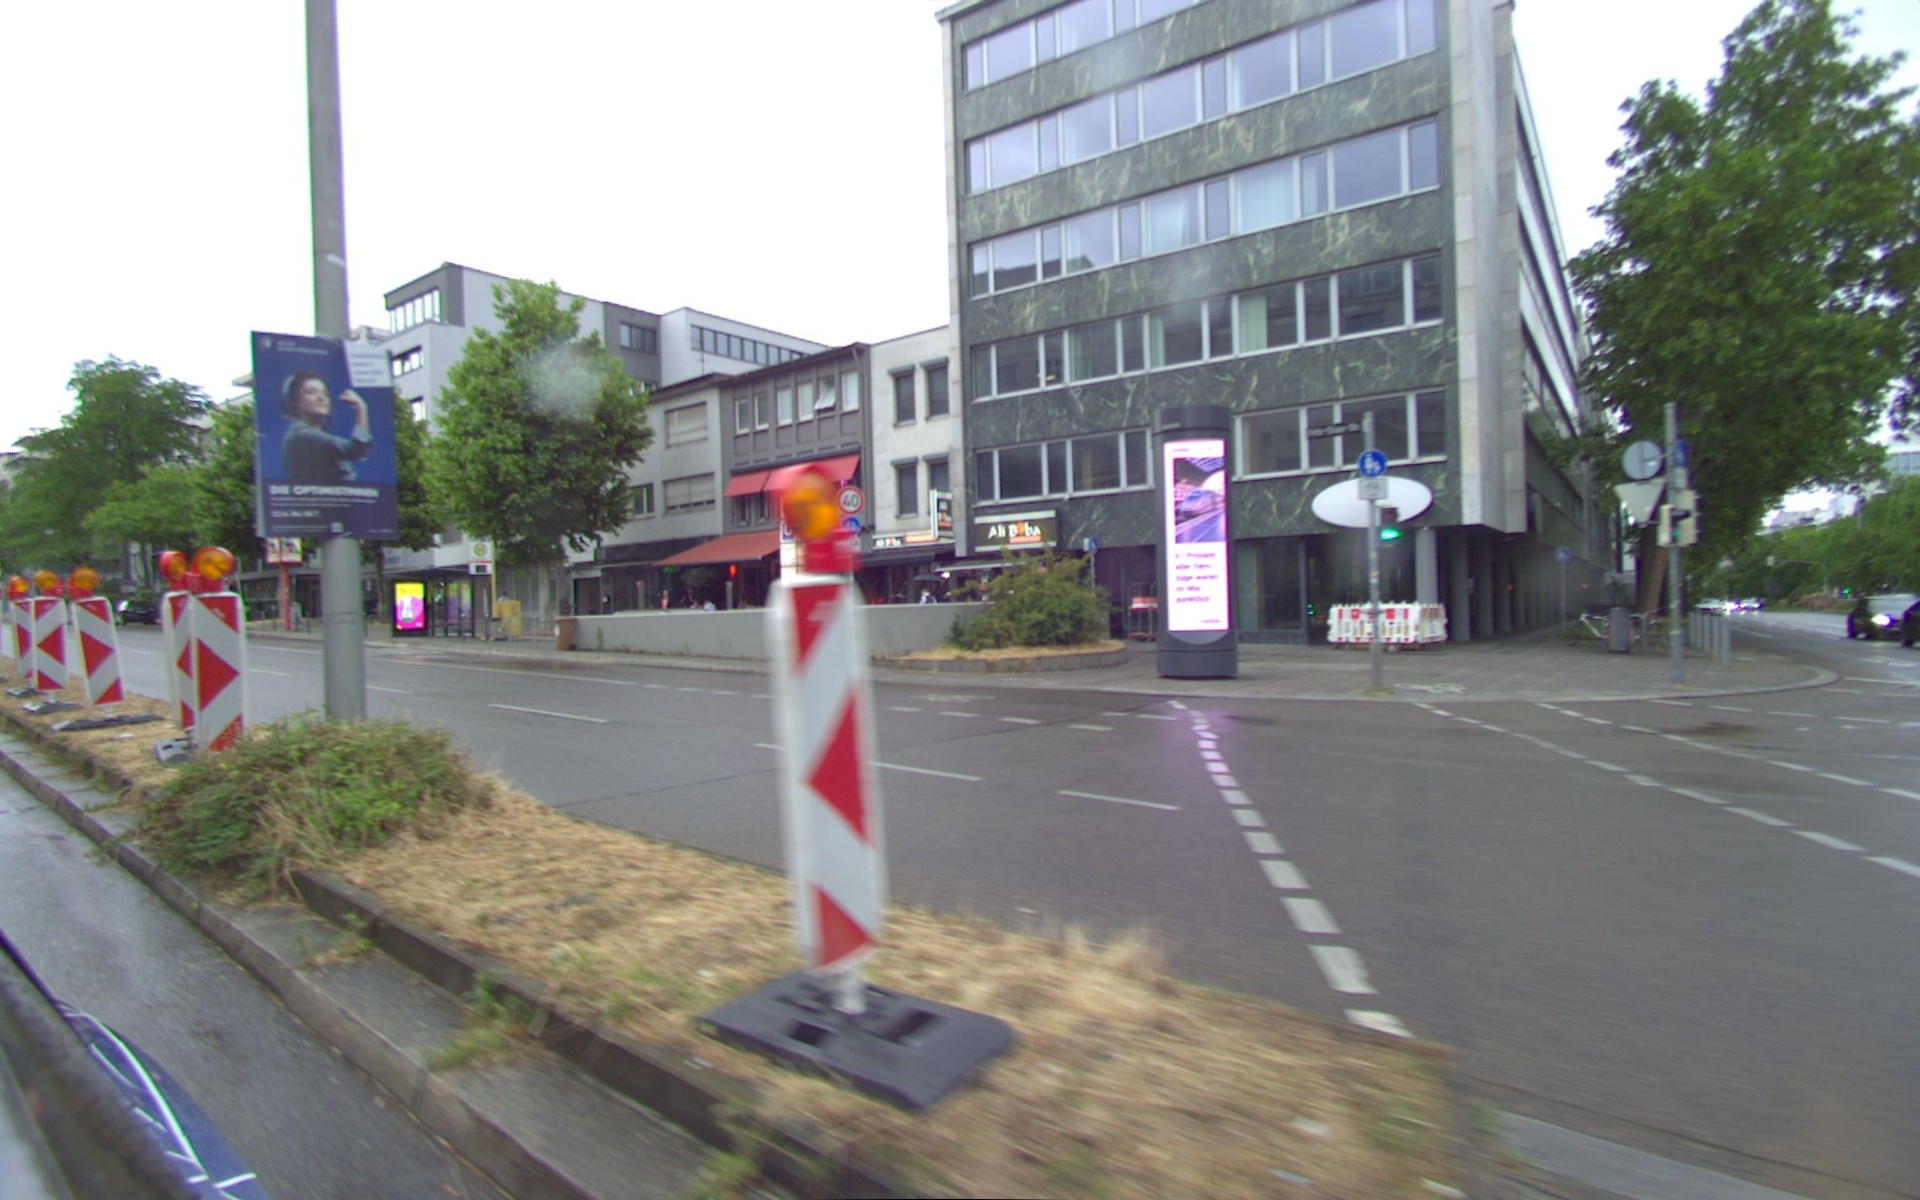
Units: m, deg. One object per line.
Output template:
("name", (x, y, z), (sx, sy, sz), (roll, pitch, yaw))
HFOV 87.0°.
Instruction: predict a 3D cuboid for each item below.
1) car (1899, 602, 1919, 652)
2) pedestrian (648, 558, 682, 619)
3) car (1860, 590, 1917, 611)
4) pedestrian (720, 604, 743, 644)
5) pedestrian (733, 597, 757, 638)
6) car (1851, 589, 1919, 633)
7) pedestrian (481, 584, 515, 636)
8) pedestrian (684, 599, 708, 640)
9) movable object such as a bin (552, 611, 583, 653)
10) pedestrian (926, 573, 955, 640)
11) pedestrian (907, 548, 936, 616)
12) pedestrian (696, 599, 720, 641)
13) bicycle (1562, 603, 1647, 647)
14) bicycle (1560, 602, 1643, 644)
("car", (27.812, 0.761, 27.977), (1.994, 1.381, 4.130), (-1, 0, 33))
("pedestrian", (-9.045, -0.357, 31.056), (0.787, 1.837, 0.606), (0, 0, 24))
("car", (67.196, 0.024, 73.311), (1.925, 1.499, 4.860), (-1, 0, 29))
("pedestrian", (-8.956, 0.917, 39.613), (0.611, 1.540, 0.660), (-1, 0, 45))
("pedestrian", (-8.296, 0.676, 39.041), (0.611, 1.540, 0.660), (-1, 0, 44))
("car", (31.458, 0.346, 33.731), (1.994, 1.381, 4.130), (-1, 0, 33))
("pedestrian", (-18.251, 0.370, 39.990), (0.943, 2.029, 0.910), (0, 1, 41))
("pedestrian", (-9.999, 0.728, 38.377), (0.611, 1.540, 0.660), (-1, 0, 44))
("movable object such as a bin", (-10.657, 0.869, 27.479), (0.660, 1.109, 0.501), (0, 1, 39))
("pedestrian", (-0.595, 0.194, 30.674), (0.588, 2.029, 0.730), (0, 0, -29))
("pedestrian", (-1.155, -0.533, 30.366), (0.588, 2.029, 0.730), (0, 0, -29))
("pedestrian", (-9.363, 0.742, 37.632), (0.611, 1.540, 0.660), (-1, 0, 44))
("bicycle", (16.213, 0.611, 25.471), (1.780, 1.060, 0.579), (0, 0, 37))
("bicycle", (16.709, 0.600, 26.379), (1.780, 1.060, 0.579), (0, 0, 37))
